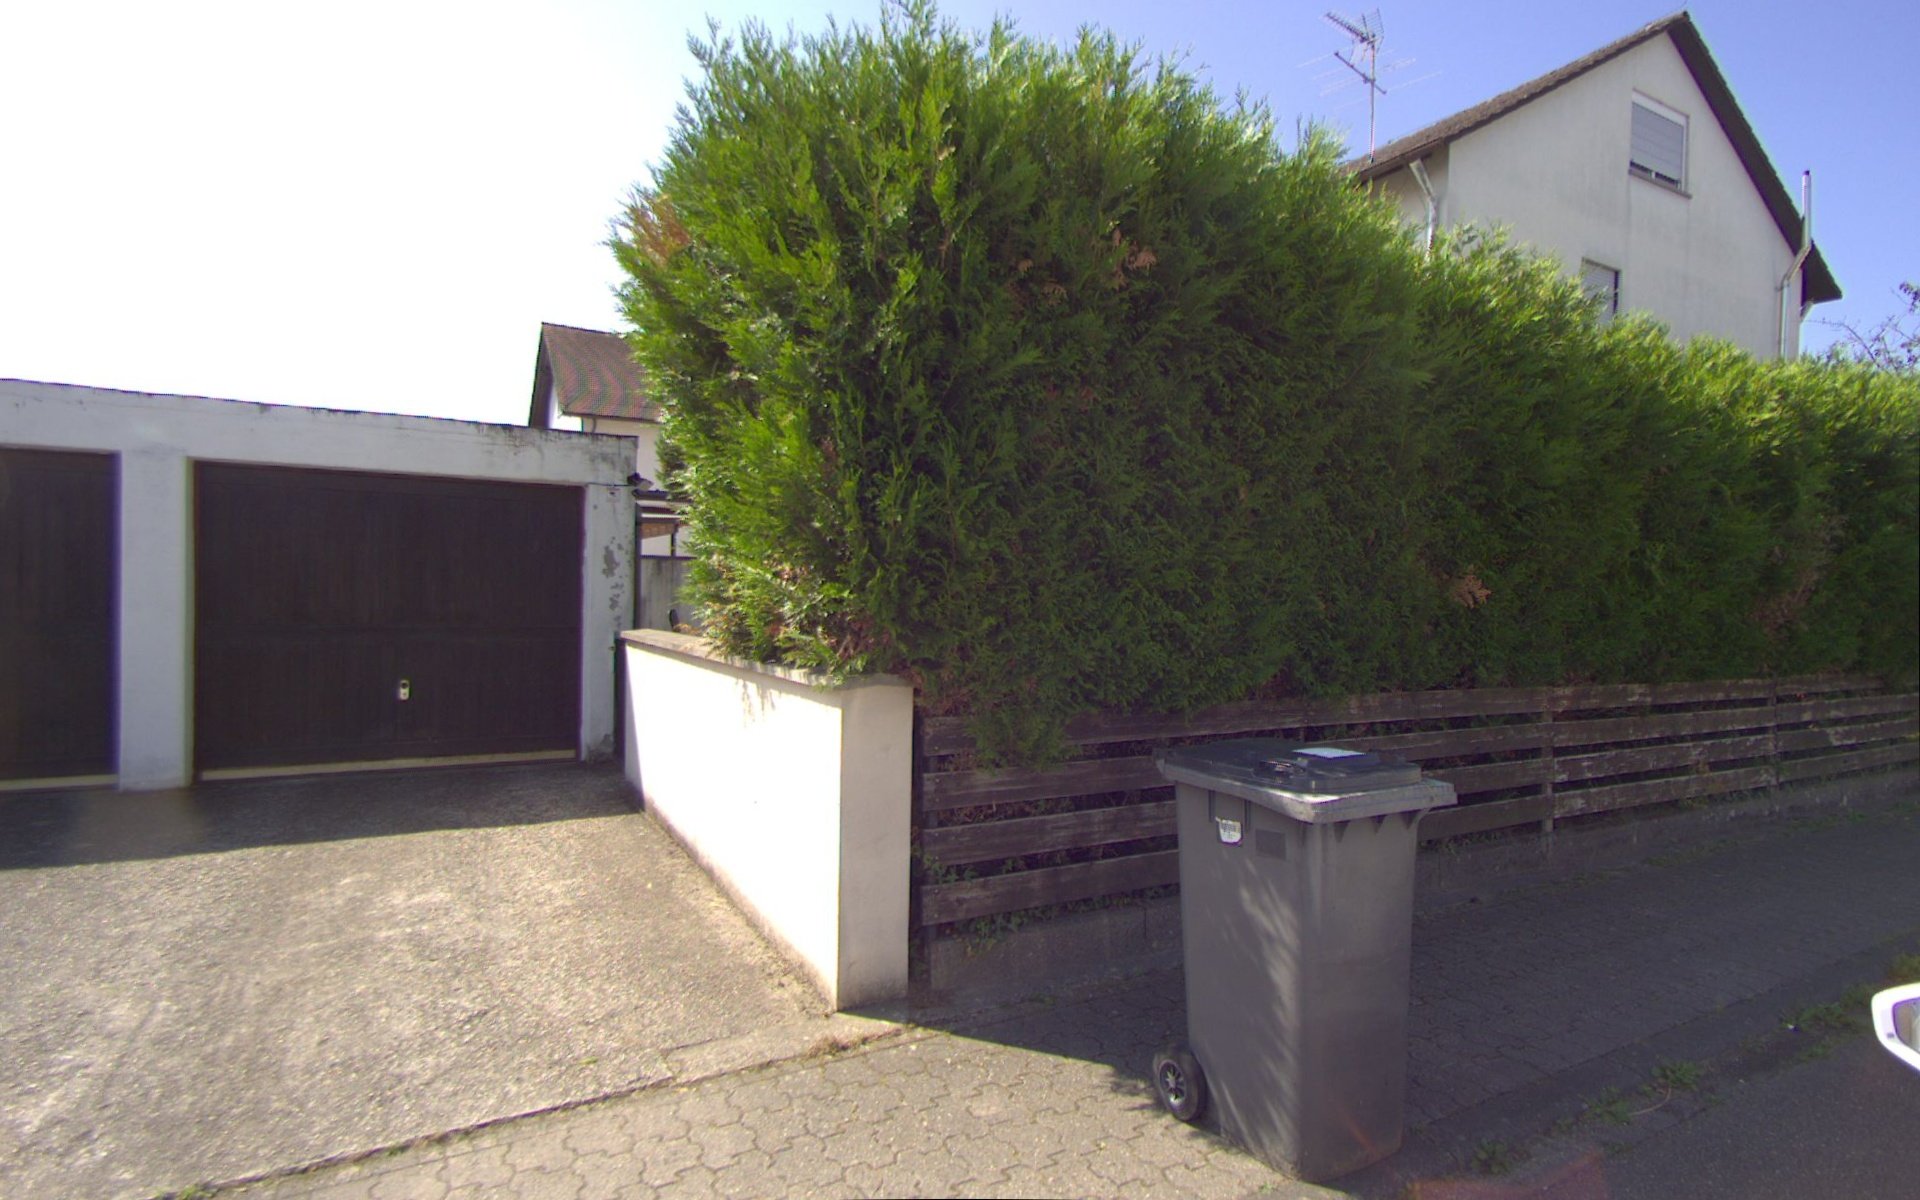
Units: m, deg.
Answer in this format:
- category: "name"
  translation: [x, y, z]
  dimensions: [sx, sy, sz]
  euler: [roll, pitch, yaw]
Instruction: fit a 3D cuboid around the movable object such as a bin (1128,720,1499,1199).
- category: "movable object such as a bin"
  translation: [0.986, 0.944, 2.909]
  dimensions: [0.604, 1.078, 0.814]
  euler: [1, 0, -30]
